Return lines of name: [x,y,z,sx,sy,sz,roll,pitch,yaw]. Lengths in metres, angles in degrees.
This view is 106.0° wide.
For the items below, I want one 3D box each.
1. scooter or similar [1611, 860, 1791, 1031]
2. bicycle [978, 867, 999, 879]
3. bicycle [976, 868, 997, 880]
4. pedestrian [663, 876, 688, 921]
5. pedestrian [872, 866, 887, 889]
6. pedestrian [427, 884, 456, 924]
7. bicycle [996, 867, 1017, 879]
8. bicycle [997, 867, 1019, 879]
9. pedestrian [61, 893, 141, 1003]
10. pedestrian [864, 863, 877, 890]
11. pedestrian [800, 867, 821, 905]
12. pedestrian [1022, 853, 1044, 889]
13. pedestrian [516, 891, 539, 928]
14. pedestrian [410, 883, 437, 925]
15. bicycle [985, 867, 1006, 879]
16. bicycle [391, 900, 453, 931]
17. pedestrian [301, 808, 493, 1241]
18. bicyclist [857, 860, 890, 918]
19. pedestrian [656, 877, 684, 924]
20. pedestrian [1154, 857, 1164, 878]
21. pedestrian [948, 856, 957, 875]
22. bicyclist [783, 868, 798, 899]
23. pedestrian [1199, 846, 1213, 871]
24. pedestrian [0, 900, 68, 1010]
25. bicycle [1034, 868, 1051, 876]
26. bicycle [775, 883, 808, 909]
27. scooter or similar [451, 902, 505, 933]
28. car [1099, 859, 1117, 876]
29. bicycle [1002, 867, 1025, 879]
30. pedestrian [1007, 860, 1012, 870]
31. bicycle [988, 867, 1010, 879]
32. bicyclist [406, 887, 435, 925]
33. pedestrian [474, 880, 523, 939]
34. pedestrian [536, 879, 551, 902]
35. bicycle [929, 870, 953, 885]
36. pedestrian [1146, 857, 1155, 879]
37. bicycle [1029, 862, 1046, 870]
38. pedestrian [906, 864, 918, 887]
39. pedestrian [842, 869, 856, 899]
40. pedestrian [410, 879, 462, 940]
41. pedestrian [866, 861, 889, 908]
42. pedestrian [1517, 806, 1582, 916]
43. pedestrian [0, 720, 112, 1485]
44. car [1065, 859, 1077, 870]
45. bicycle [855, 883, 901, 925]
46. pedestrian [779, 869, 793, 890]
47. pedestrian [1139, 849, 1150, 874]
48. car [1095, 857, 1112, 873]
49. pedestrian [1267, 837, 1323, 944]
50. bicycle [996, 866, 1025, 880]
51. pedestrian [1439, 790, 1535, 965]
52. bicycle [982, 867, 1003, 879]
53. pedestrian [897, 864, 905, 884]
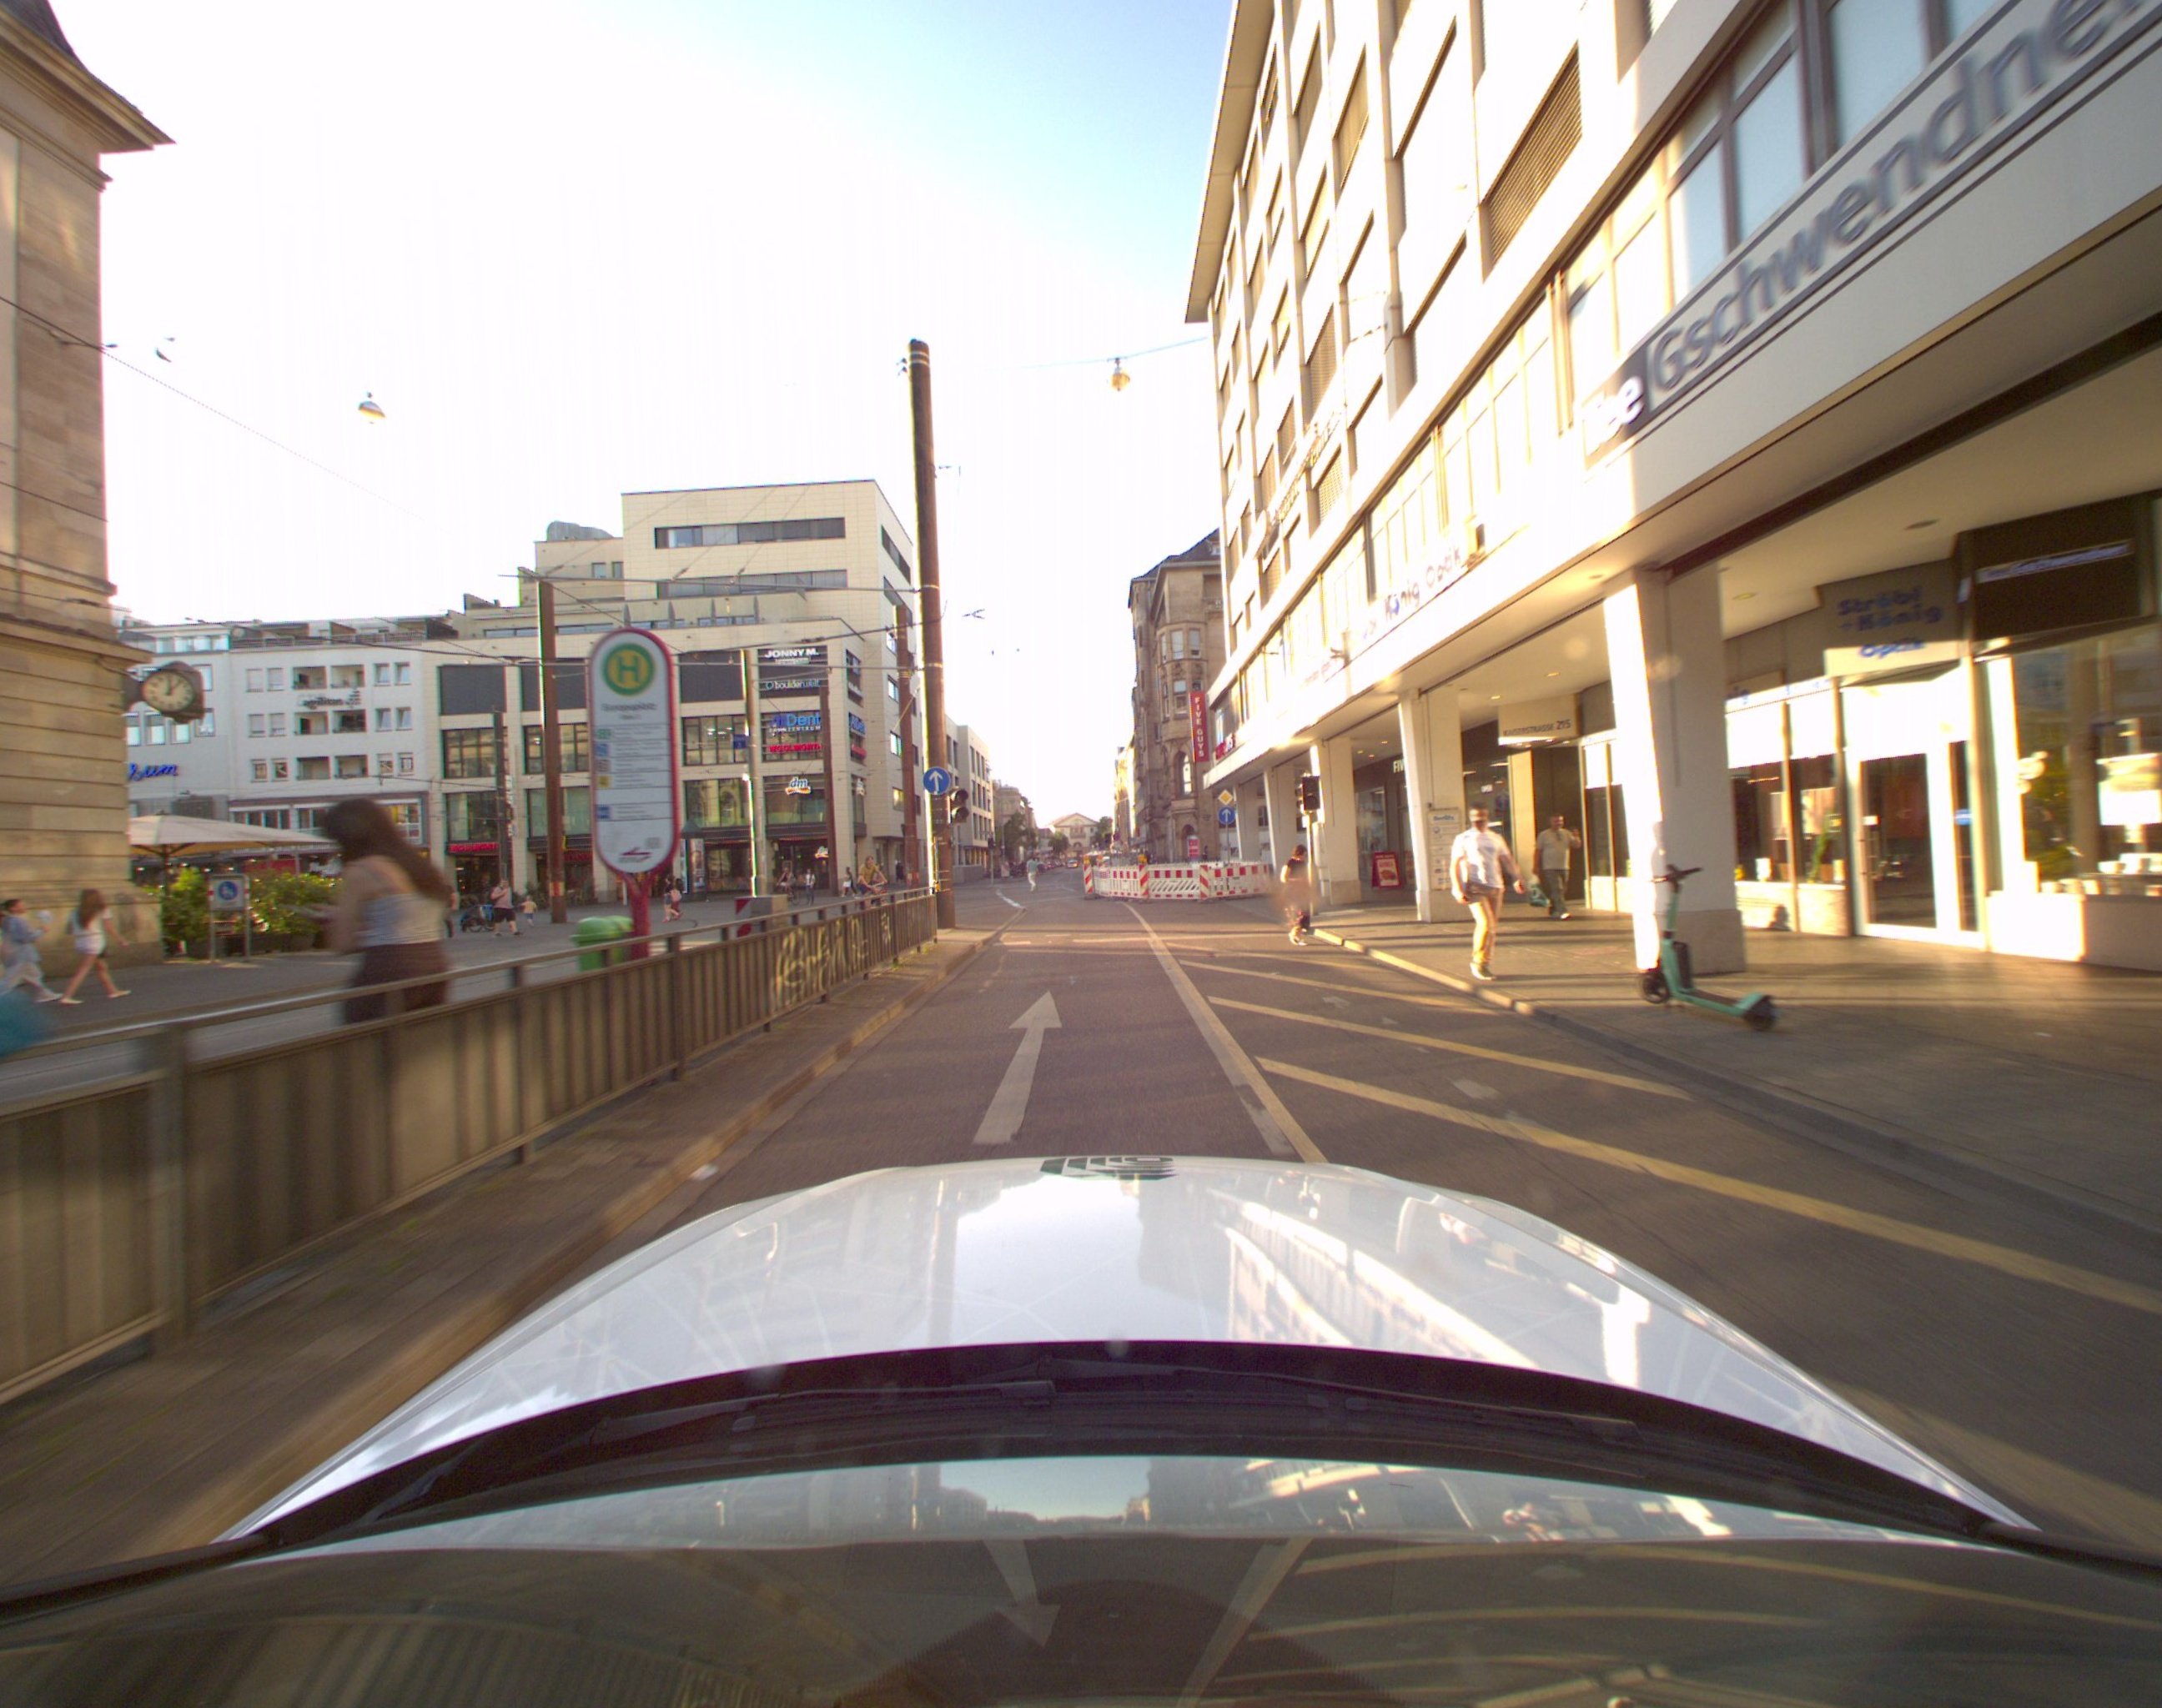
scooter or similar: [4.947,0.674,6.581,0.503,1.234,1.179,-3,-1,0]
bicycle: [-9.085,1.898,79.942,1.979,1.122,0.553,-1,-1,-29]
bicycle: [-9.425,1.989,80.888,1.979,1.122,0.553,-1,-1,-29]
pedestrian: [-15.111,1.654,30.366,0.773,1.614,0.661,-2,-1,-25]
pedestrian: [-14.447,1.667,58.429,0.761,1.659,0.819,-2,-1,14]
pedestrian: [-27.434,2.137,34.929,0.525,1.674,0.756,-3,-1,7]
bicycle: [-7.061,1.814,77.212,1.979,1.122,0.553,-1,-1,-29]
bicycle: [-6.874,1.801,76.495,1.979,1.122,0.553,-1,-1,-29]
pedestrian: [-14.373,1.356,11.956,0.527,1.525,0.500,-2,-1,-16]
pedestrian: [-14.870,1.567,57.575,0.569,1.855,0.819,-2,-1,13]
pedestrian: [-12.511,1.474,37.670,0.645,1.674,0.531,-3,-1,9]
pedestrian: [-2.431,0.865,41.375,0.859,1.761,0.770,-2,-1,12]
pedestrian: [-19.586,1.963,28.820,0.407,1.243,0.487,-3,-1,24]
pedestrian: [-27.623,2.097,34.200,0.525,1.674,0.652,-3,-1,7]
bicycle: [-8.248,1.862,78.709,1.979,1.122,0.553,-1,-1,-29]
bicycle: [-26.619,2.486,32.914,1.929,1.115,0.692,-1,-2,-40]
pedestrian: [-2.800,0.651,3.369,0.356,1.642,0.502,-1,-1,-1]
bicyclist: [-5.933,0.996,23.267,0.613,1.593,0.783,-2,-1,-38]
pedestrian: [-14.814,1.650,29.353,0.825,1.614,0.687,-2,-1,-25]
pedestrian: [6.400,1.112,66.638,0.623,1.690,0.626,-3,-1,-1]
pedestrian: [-11.449,0.986,72.800,0.679,1.681,0.599,-1,-1,-2]
bicyclist: [-13.567,1.384,37.993,0.418,1.427,0.565,-2,-1,10]
pedestrian: [8.362,0.291,54.571,0.817,1.611,0.713,-1,-1,0]
pedestrian: [-15.329,1.452,11.841,0.519,1.525,0.499,-2,-1,-13]
bicycle: [-4.919,2.303,104.117,2.140,1.029,0.641,-3,-1,2]
bicycle: [-13.541,1.956,38.144,0.570,1.098,2.026,-2,-1,7]
scooter or similar: [-20.211,2.116,27.326,1.089,0.904,0.891,-3,0,2]
car: [2.724,1.344,82.937,1.673,1.547,3.673,-4,-1,0]
bicycle: [-6.272,1.776,75.744,1.979,1.122,0.553,-1,-1,-29]
pedestrian: [-11.619,1.746,133.109,0.677,1.621,0.573,-3,-1,0]
bicycle: [-7.853,1.844,78.067,1.979,1.122,0.553,-1,-1,-29]
bicyclist: [-26.677,2.100,32.890,0.878,1.465,0.592,-1,-1,-41]
pedestrian: [-16.682,1.571,23.344,0.801,1.628,0.832,-2,0,-10]
pedestrian: [-38.918,2.641,58.939,0.671,1.680,0.575,-1,-1,1]
bicycle: [-10.537,1.770,61.408,1.689,1.122,0.451,-1,-1,3]
pedestrian: [5.674,1.137,66.580,0.623,1.690,0.671,-3,-1,-1]
bicycle: [-5.672,1.568,106.262,2.140,1.029,0.641,-3,-1,2]
pedestrian: [-13.162,1.692,63.498,0.780,1.751,0.599,-1,-1,-2]
pedestrian: [-13.243,1.688,46.492,0.526,1.674,0.651,-3,-1,1]
pedestrian: [-18.170,1.556,22.947,0.961,1.628,0.694,-2,-1,18]
pedestrian: [-7.692,1.152,30.742,0.745,1.700,0.607,-2,-1,-15]
pedestrian: [7.972,0.125,13.888,0.696,1.815,0.631,-1,-1,1]
pedestrian: [-2.789,0.576,1.820,0.536,1.767,0.595,-1,-1,6]
car: [-1.886,2.003,154.646,1.987,1.904,4.000,-1,-1,0]
bicycle: [-5.788,1.425,23.154,0.633,1.103,1.607,-2,-2,-37]
pedestrian: [-21.580,1.885,59.588,0.569,1.526,0.793,-2,-1,13]
pedestrian: [4.503,0.548,57.398,0.623,1.690,0.671,-3,-1,-1]
car: [2.469,1.223,88.958,1.673,1.613,4.028,-4,-1,0]
pedestrian: [3.490,0.578,13.296,0.698,1.693,0.540,-1,-1,-7]
bicycle: [-7.425,1.991,86.236,2.902,1.255,0.797,-3,-1,-26]
pedestrian: [4.426,0.252,8.936,0.695,1.815,0.854,-2,-1,10]
bicycle: [-8.638,1.879,79.337,1.979,1.122,0.553,-1,-1,-29]
pedestrian: [-13.904,1.571,62.917,0.388,1.515,0.505,-3,-1,-1]
